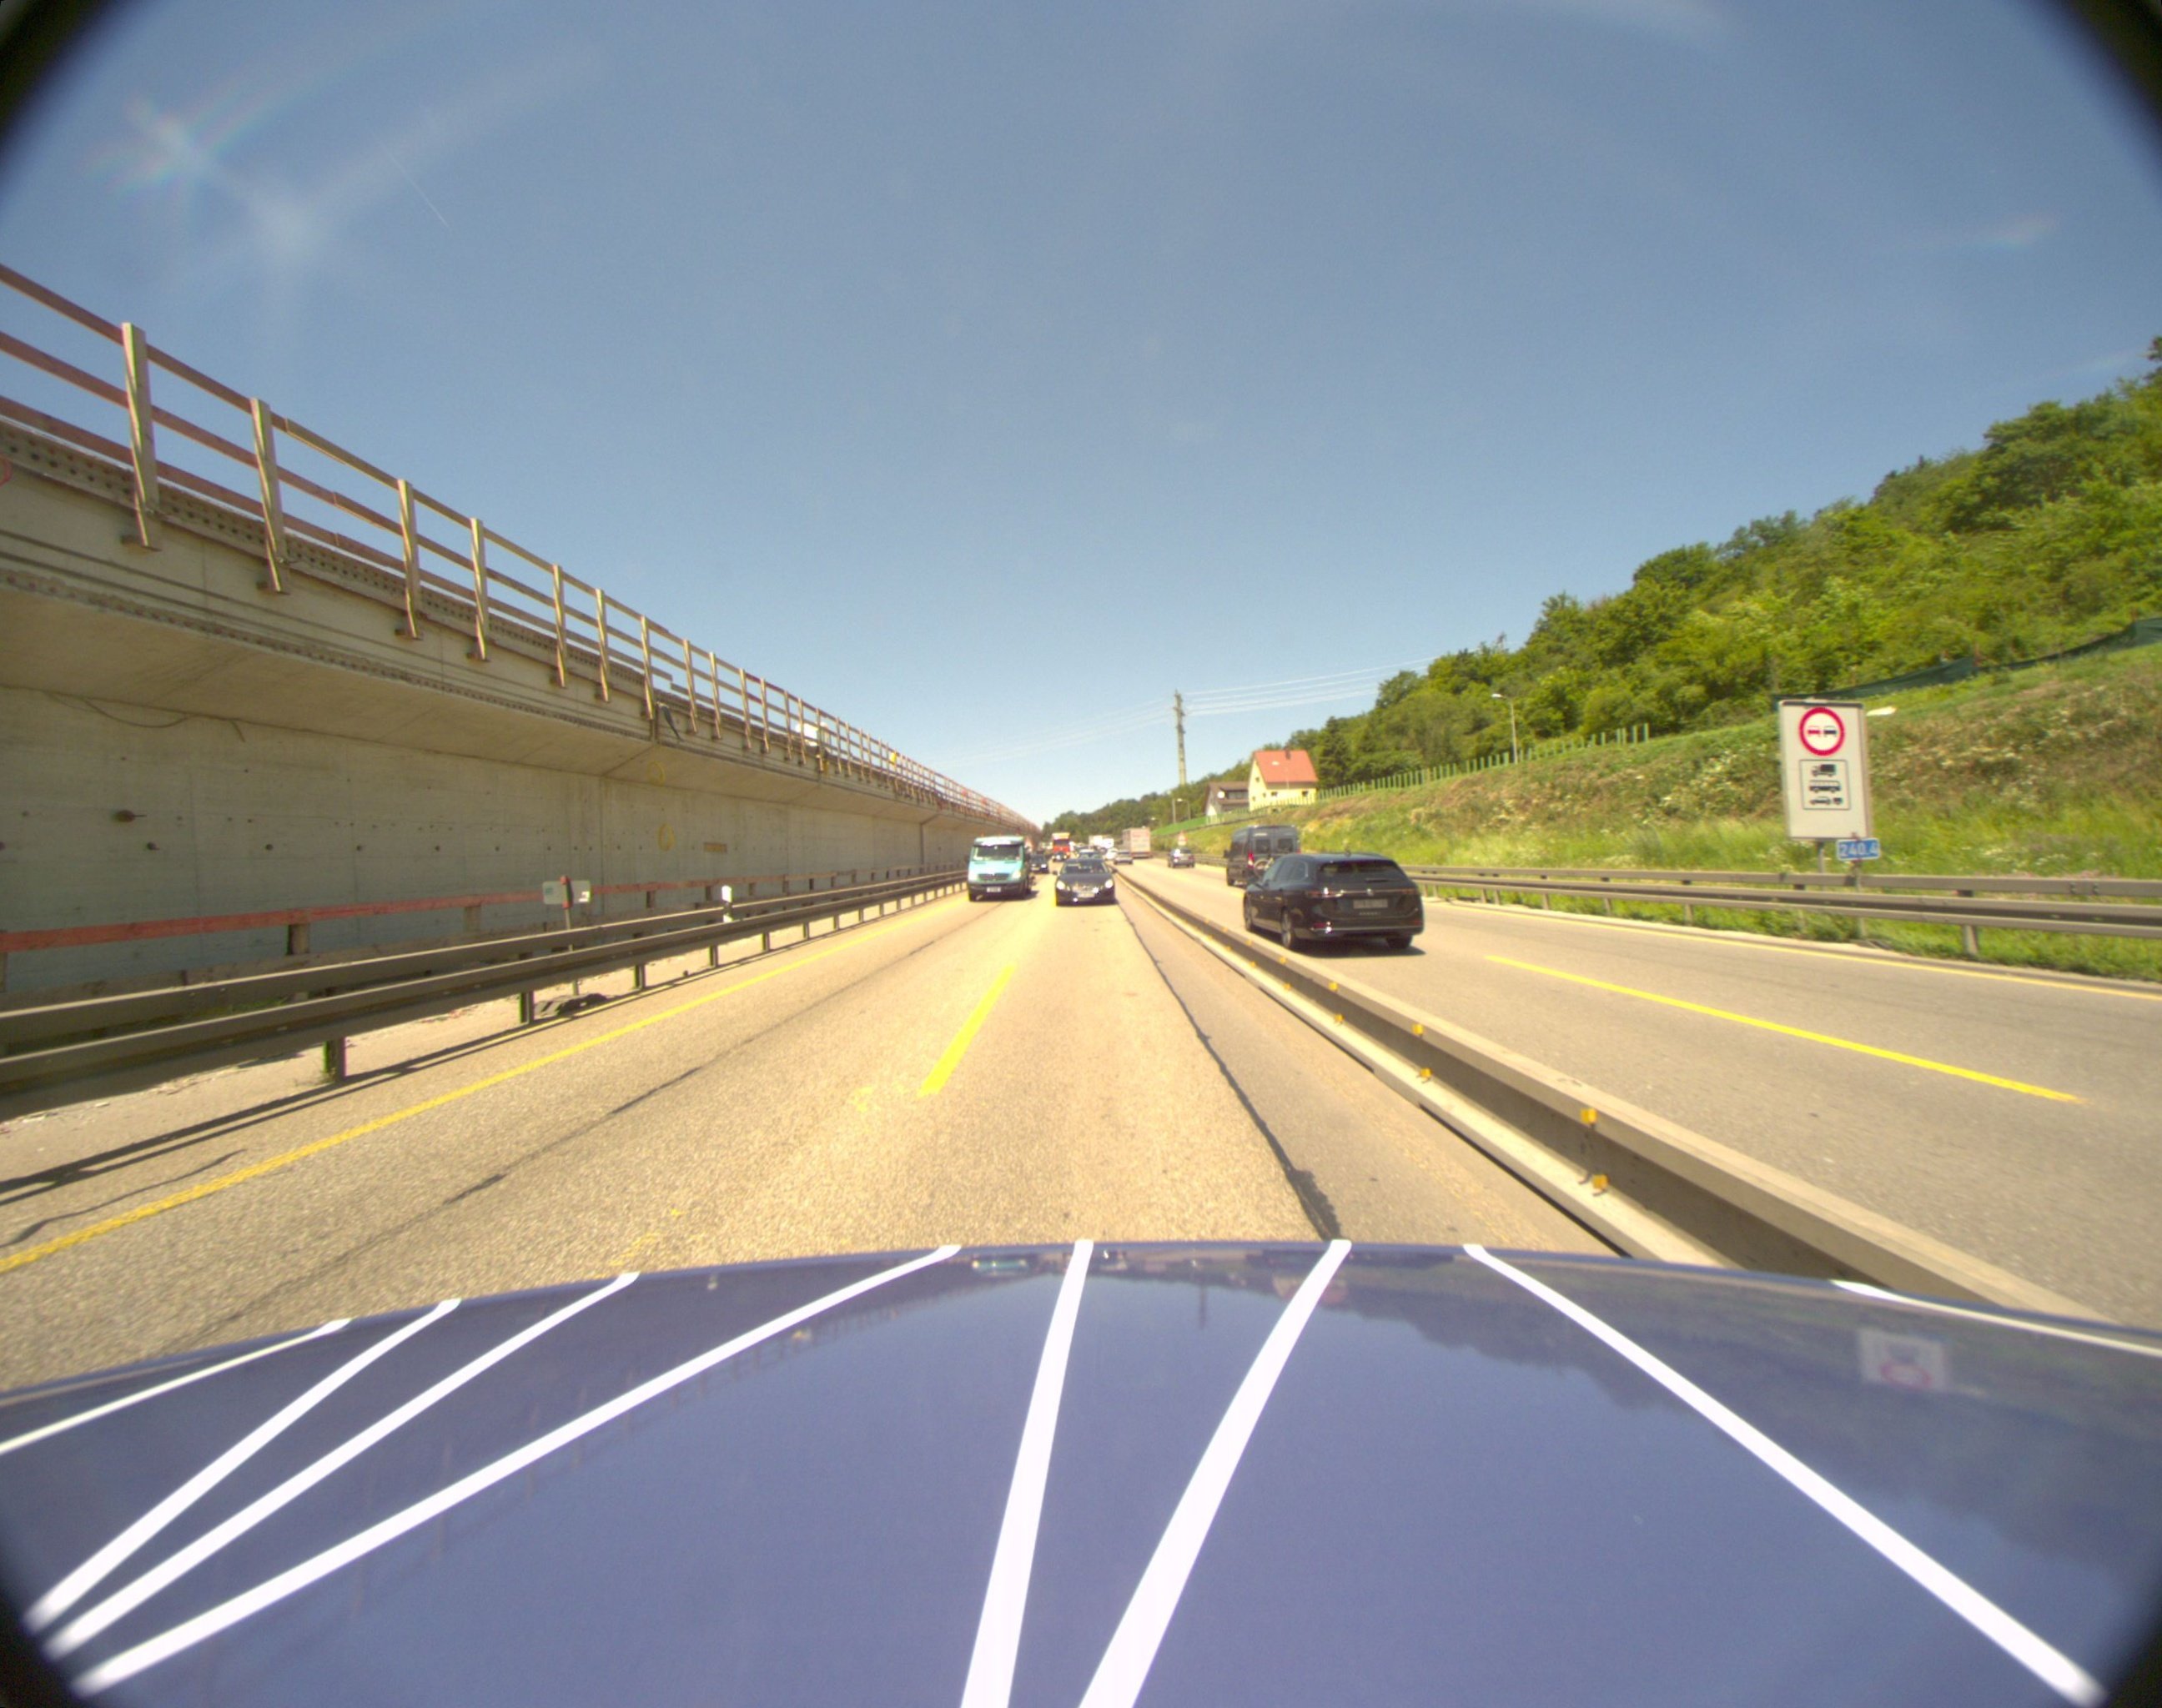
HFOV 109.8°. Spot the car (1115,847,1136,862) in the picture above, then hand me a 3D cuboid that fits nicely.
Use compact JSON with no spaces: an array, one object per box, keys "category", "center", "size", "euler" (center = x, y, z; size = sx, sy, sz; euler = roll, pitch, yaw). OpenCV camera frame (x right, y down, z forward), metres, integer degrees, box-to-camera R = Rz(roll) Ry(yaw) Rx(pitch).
[{"category":"car","center":[4.428,0.054,76.637],"size":[1.834,1.425,4.628],"euler":[-1,1,0]}]

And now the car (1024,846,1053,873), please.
[{"category":"car","center":[-3.097,0.395,56.116],"size":[1.885,1.805,4.249],"euler":[-2,2,0]}]

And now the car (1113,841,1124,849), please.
[{"category":"car","center":[7.711,-1.782,157.064],"size":[1.998,1.499,5.299],"euler":[-2,1,1]}]

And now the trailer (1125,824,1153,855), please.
[{"category":"trailer","center":[7.719,-1.962,102.425],"size":[2.937,3.966,8.704],"euler":[-2,1,-1]}]

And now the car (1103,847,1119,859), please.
[{"category":"car","center":[3.818,-0.194,97.285],"size":[1.807,1.455,3.999],"euler":[-2,1,0]}]

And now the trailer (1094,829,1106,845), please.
[{"category":"trailer","center":[5.441,-4.997,222.153],"size":[3.111,4.417,14.625],"euler":[-2,1,0]}]

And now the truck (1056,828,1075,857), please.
[{"category":"truck","center":[-2.355,-1.775,118.235],"size":[2.750,4.222,9.092],"euler":[-2,2,0]}]

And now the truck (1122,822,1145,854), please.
[{"category":"truck","center":[7.634,-2.302,111.933],"size":[2.627,4.371,10.383],"euler":[-2,1,0]}]

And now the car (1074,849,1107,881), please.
[{"category":"car","center":[0.646,0.628,47.909],"size":[1.884,1.805,4.250],"euler":[-2,2,2]}]

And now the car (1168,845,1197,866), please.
[{"category":"car","center":[8.205,0.070,61.630],"size":[1.777,1.573,4.285],"euler":[-3,1,0]}]

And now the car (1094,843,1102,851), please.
[{"category":"car","center":[4.057,-1.649,179.069],"size":[1.875,1.674,4.000],"euler":[-1,1,1]}]

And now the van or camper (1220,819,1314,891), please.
[{"category":"van or camper","center":[7.341,0.010,30.877],"size":[2.145,2.558,6.563],"euler":[-2,0,0]}]

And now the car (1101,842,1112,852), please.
[{"category":"car","center":[4.890,-1.281,144.858],"size":[1.854,1.879,4.500],"euler":[-2,1,0]}]

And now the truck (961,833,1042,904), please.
[{"category":"truck","center":[-2.868,0.392,29.383],"size":[2.139,2.344,7.431],"euler":[-2,1,1]}]

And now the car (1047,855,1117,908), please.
[{"category":"car","center":[0.059,0.812,24.589],"size":[1.998,1.441,4.601],"euler":[-2,1,1]}]

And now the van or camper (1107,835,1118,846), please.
[{"category":"van or camper","center":[7.484,-3.260,183.261],"size":[2.356,2.619,6.900],"euler":[-2,1,1]}]

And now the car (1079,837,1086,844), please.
[{"category":"car","center":[0.344,-4.063,232.767],"size":[1.999,2.002,4.164],"euler":[-2,1,-1]}]

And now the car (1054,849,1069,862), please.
[{"category":"car","center":[-2.492,0.149,97.788],"size":[1.883,1.532,4.280],"euler":[-2,1,0]}]

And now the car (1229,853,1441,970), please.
[{"category":"car","center":[3.833,0.764,12.468],"size":[1.847,1.467,4.834],"euler":[-2,0,0]}]
